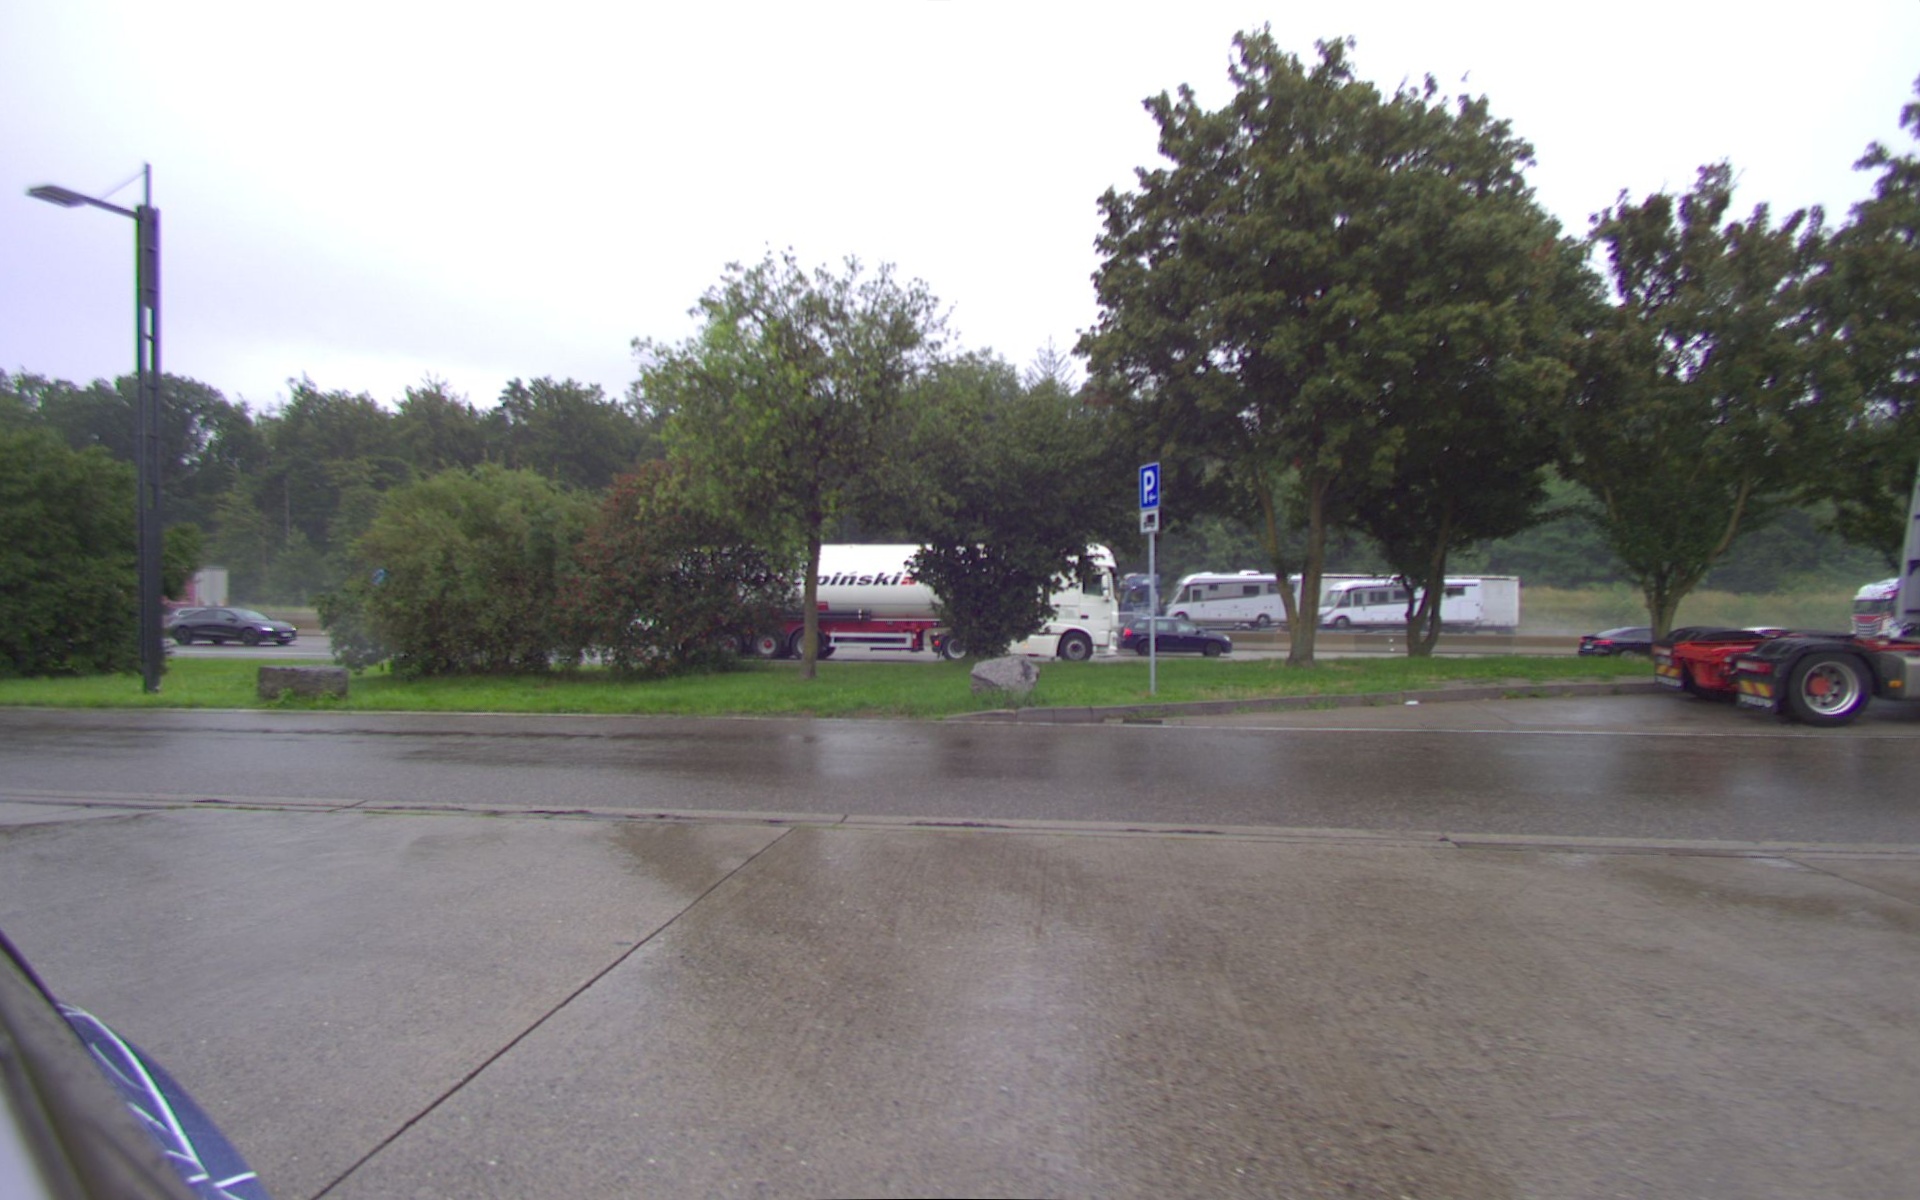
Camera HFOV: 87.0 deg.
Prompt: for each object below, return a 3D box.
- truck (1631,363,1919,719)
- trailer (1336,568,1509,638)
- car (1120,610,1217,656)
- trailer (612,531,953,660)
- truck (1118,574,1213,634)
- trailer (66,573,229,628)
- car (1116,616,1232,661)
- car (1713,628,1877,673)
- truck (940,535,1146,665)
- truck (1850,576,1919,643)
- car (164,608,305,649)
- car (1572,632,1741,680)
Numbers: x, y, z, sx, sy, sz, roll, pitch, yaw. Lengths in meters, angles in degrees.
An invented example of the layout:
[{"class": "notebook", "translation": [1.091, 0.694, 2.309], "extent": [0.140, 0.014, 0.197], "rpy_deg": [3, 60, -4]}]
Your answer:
[{"class": "truck", "translation": [12.413, -0.672, 12.393], "extent": [6.242, 3.934, 2.918], "rpy_deg": [-1, 0, 8]}, {"class": "trailer", "translation": [25.429, 0.126, 55.923], "extent": [8.419, 3.680, 2.238], "rpy_deg": [-1, 3, 2]}, {"class": "car", "translation": [9.043, 1.419, 44.119], "extent": [3.952, 1.889, 2.002], "rpy_deg": [-1, 0, 7]}, {"class": "trailer", "translation": [-5.763, -0.147, 33.818], "extent": [10.902, 4.056, 2.767], "rpy_deg": [0, -1, 5]}, {"class": "truck", "translation": [11.410, 0.198, 56.428], "extent": [4.865, 3.181, 2.247], "rpy_deg": [-1, 3, 1]}, {"class": "trailer", "translation": [-56.627, 0.021, 70.544], "extent": [10.624, 3.640, 2.457], "rpy_deg": [-1, 3, 11]}, {"class": "car", "translation": [8.423, 1.497, 40.104], "extent": [4.353, 1.681, 1.819], "rpy_deg": [1, -1, 8]}, {"class": "car", "translation": [31.692, 1.890, 38.530], "extent": [4.450, 1.492, 1.881], "rpy_deg": [1, 0, 8]}, {"class": "truck", "translation": [2.685, 0.009, 33.105], "extent": [6.426, 4.039, 2.755], "rpy_deg": [0, -1, 5]}, {"class": "truck", "translation": [53.931, 0.459, 54.590], "extent": [8.587, 3.532, 2.774], "rpy_deg": [-1, 0, 9]}, {"class": "car", "translation": [-29.226, 1.166, 40.852], "extent": [4.449, 1.590, 1.995], "rpy_deg": [0, -2, 8]}, {"class": "car", "translation": [24.172, 1.915, 35.260], "extent": [4.446, 1.492, 1.883], "rpy_deg": [1, 0, 5]}]
